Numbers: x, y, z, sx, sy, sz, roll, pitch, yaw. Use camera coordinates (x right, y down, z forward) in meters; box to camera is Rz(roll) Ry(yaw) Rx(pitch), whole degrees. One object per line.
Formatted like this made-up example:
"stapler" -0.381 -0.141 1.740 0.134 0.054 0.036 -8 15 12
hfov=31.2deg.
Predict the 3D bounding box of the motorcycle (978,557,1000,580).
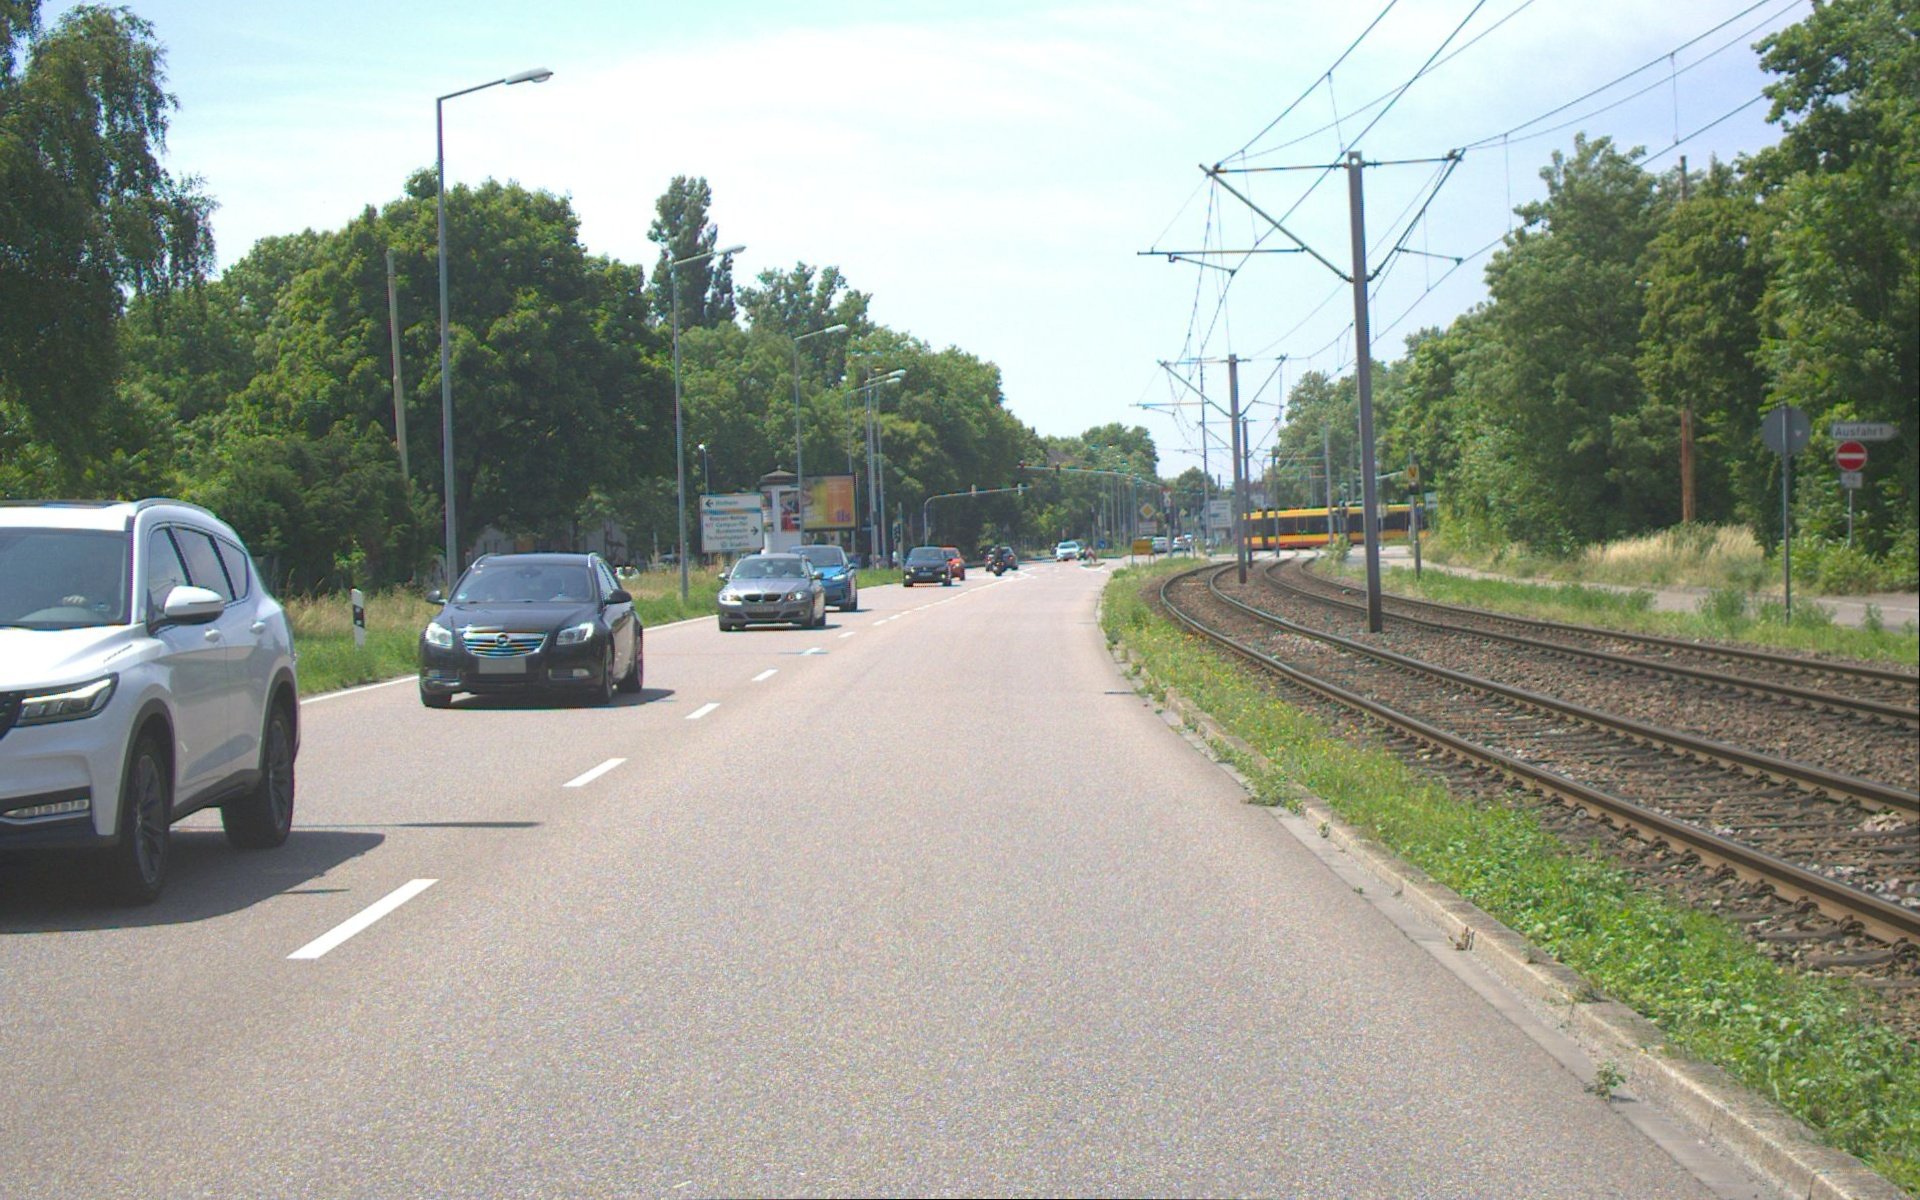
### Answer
"motorcycle" 1.418 -1.553 167.904 0.970 1.113 2.732 -1 1 1

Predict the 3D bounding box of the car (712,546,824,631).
"car" -3.543 -0.232 64.053 1.817 1.488 4.363 -1 1 0

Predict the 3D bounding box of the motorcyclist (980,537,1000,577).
"motorcyclist" 1.460 -2.104 167.817 0.891 1.898 1.015 -1 1 1

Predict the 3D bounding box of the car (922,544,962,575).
"car" -0.755 -1.742 148.481 1.627 1.310 4.363 -1 1 1

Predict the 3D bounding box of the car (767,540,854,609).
"car" -3.463 -0.597 80.197 1.817 1.532 4.363 -1 1 0

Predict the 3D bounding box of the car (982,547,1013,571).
"car" 2.267 -2.482 206.627 1.627 1.390 4.363 -1 1 4

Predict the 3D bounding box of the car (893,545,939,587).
"car" -1.607 -1.262 127.719 1.627 1.485 4.363 -1 1 0

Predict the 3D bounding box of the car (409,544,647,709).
"car" -4.281 0.227 34.644 1.817 1.523 4.363 -1 1 0

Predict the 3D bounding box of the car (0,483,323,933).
"car" -4.402 0.418 16.077 1.935 1.790 4.712 -1 1 0
